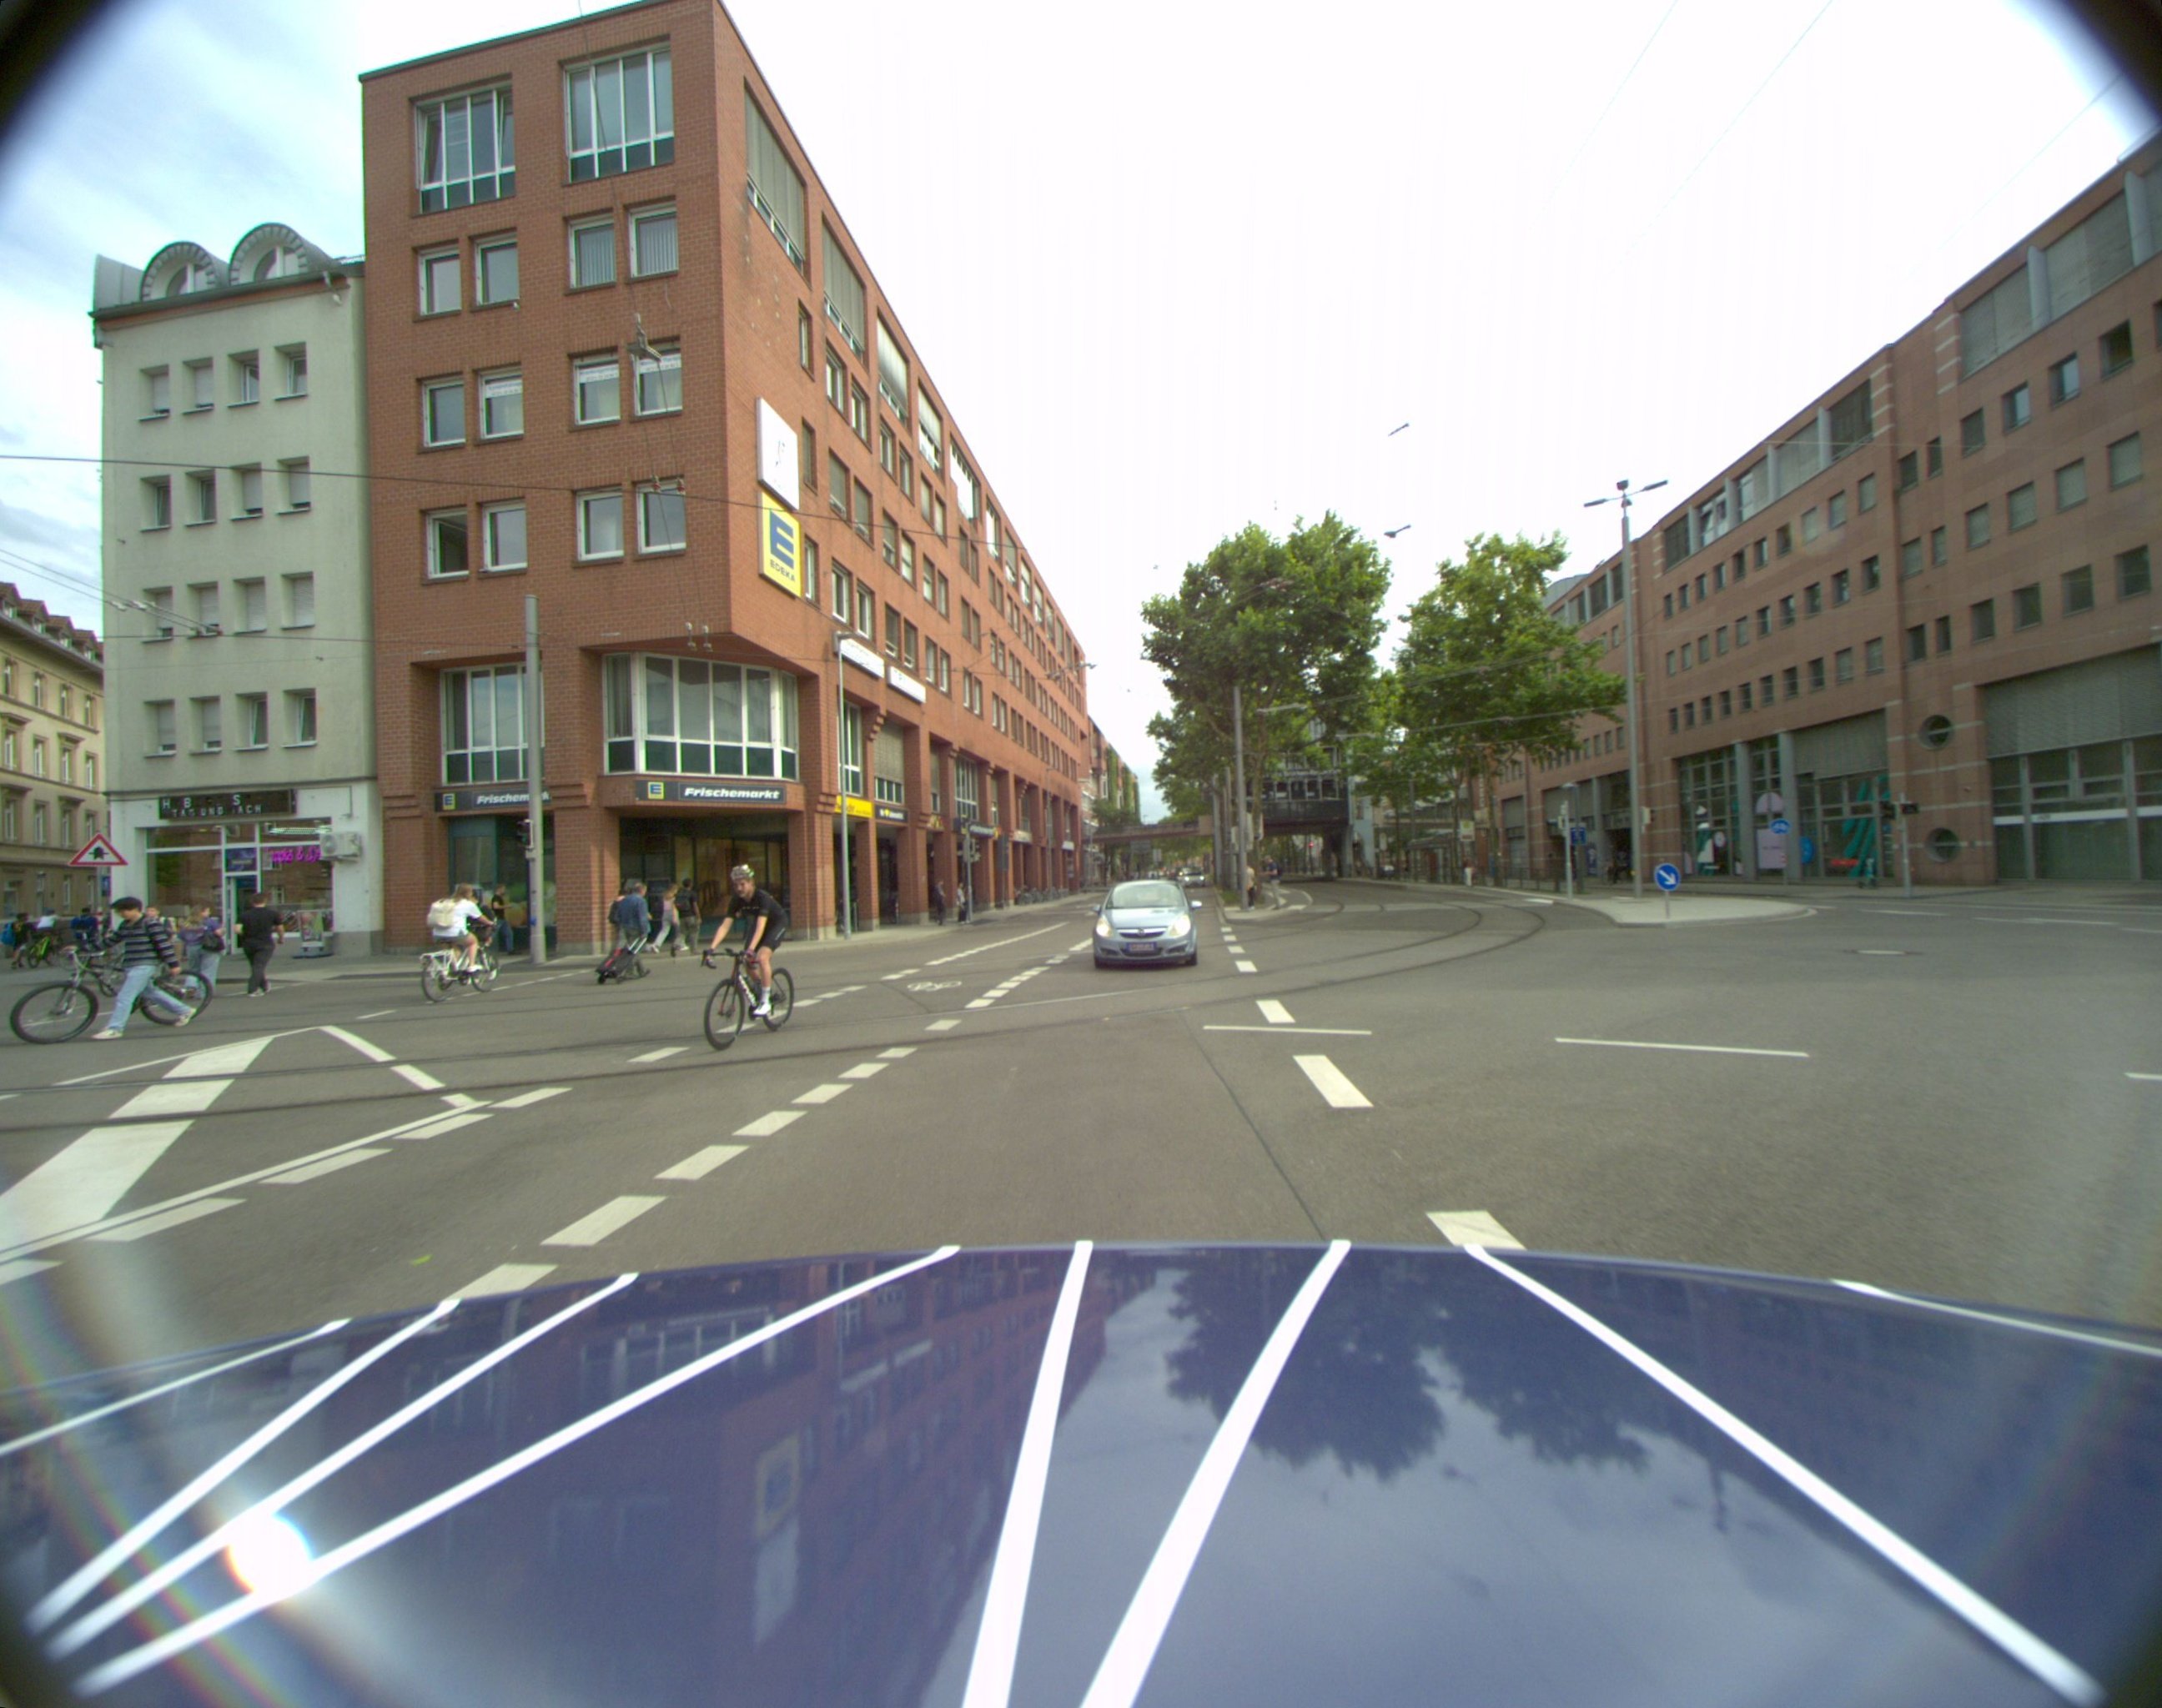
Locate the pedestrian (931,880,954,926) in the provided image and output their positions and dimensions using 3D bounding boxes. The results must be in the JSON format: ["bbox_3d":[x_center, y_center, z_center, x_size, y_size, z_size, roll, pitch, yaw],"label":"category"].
[{"bbox_3d":[-5.118,1.805,28.150,0.647,1.686,0.698,-1,-1,7],"label":"pedestrian"}]

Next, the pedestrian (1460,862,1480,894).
[{"bbox_3d":[18.850,1.150,36.798,0.658,1.529,0.559,-2,1,6],"label":"pedestrian"}]

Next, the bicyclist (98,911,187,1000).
[{"bbox_3d":[-17.531,1.858,14.221,0.747,1.549,0.944,-1,-2,-29],"label":"bicyclist"}]

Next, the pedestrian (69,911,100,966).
[{"bbox_3d":[-32.049,2.710,24.437,0.518,1.712,0.542,-3,-1,30],"label":"pedestrian"}]

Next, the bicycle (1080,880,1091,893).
[{"bbox_3d":[0.534,3.734,87.880,0.746,1.381,2.983,-2,-2,10],"label":"bicycle"}]

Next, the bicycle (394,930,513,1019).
[{"bbox_3d":[-9.755,1.825,11.910,0.391,1.115,2.076,-2,-2,-8],"label":"bicycle"}]

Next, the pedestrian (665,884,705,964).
[{"bbox_3d":[-9.057,1.596,17.376,0.542,1.786,0.562,-2,-2,10],"label":"pedestrian"}]

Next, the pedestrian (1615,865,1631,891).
[{"bbox_3d":[32.439,1.423,45.480,0.528,1.564,0.601,-2,-1,10],"label":"pedestrian"}]

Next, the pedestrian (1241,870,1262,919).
[{"bbox_3d":[6.422,1.523,28.647,0.534,1.780,0.578,-3,-2,30],"label":"pedestrian"}]

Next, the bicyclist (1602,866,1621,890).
[{"bbox_3d":[30.656,1.388,43.900,0.552,1.372,0.738,-2,-1,0],"label":"bicyclist"}]

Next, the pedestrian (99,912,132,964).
[{"bbox_3d":[-31.810,2.757,25.042,0.543,1.626,0.584,-3,-1,30],"label":"pedestrian"}]

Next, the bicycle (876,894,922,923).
[{"bbox_3d":[-7.210,2.150,30.099,0.628,1.077,1.754,2,0,35],"label":"bicycle"}]

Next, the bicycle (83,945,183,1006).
[{"bbox_3d":[-17.648,2.231,14.192,0.544,0.944,1.804,-1,-2,-30],"label":"bicycle"}]

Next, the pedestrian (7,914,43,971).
[{"bbox_3d":[-32.875,2.745,23.661,0.518,1.712,0.593,-3,-1,30],"label":"pedestrian"}]

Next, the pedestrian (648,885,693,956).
[{"bbox_3d":[-10.046,1.618,18.624,0.648,1.678,0.651,-2,0,10],"label":"pedestrian"}]

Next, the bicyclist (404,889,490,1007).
[{"bbox_3d":[-9.685,1.398,11.637,0.642,1.699,0.862,-2,-1,-10],"label":"bicyclist"}]

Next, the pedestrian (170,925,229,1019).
[{"bbox_3d":[-15.000,1.975,12.942,0.594,1.501,0.628,-1,-3,-43],"label":"pedestrian"}]

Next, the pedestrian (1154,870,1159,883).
[{"bbox_3d":[9.823,2.938,99.022,0.515,1.644,0.612,-2,-1,10],"label":"pedestrian"}]

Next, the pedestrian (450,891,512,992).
[{"bbox_3d":[-11.144,1.600,14.135,0.568,1.812,0.696,-2,-2,9],"label":"pedestrian"}]

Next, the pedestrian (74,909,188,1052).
[{"bbox_3d":[-11.837,1.548,9.485,0.520,1.675,0.727,-2,-1,10],"label":"pedestrian"}]

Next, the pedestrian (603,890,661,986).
[{"bbox_3d":[-8.126,1.510,13.772,0.640,1.677,0.601,-2,-2,10],"label":"pedestrian"}]

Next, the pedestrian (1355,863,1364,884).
[{"bbox_3d":[22.988,1.601,62.771,0.481,1.760,0.481,-2,-1,2],"label":"pedestrian"}]

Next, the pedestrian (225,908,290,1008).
[{"bbox_3d":[-14.386,1.790,13.286,0.708,1.637,0.720,-1,-3,-43],"label":"pedestrian"}]

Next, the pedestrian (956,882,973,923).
[{"bbox_3d":[-4.647,1.916,30.321,0.407,1.622,0.733,-1,-1,17],"label":"pedestrian"}]

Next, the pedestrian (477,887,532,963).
[{"bbox_3d":[-14.022,1.704,18.485,0.737,1.772,0.707,-2,-1,10],"label":"pedestrian"}]

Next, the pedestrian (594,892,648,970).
[{"bbox_3d":[-10.155,1.679,16.786,0.542,1.641,0.894,-2,-2,10],"label":"pedestrian"}]

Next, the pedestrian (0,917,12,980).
[{"bbox_3d":[-28.486,2.467,19.754,0.791,1.617,0.719,-4,-2,42],"label":"pedestrian"}]

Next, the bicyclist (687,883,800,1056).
[{"bbox_3d":[-3.349,1.111,7.602,0.613,1.593,0.848,-3,-1,9],"label":"bicyclist"}]

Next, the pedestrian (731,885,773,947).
[{"bbox_3d":[-8.923,1.668,20.641,0.619,1.591,0.923,-2,-2,10],"label":"pedestrian"}]

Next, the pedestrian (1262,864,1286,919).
[{"bbox_3d":[6.692,1.296,26.335,0.692,1.863,0.807,-2,-1,10],"label":"pedestrian"}]

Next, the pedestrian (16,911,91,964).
[{"bbox_3d":[-37.454,3.027,27.717,1.164,1.817,1.132,-2,-1,0],"label":"pedestrian"}]

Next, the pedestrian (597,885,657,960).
[{"bbox_3d":[-10.882,1.622,18.243,0.648,1.704,1.057,-2,-1,10],"label":"pedestrian"}]
